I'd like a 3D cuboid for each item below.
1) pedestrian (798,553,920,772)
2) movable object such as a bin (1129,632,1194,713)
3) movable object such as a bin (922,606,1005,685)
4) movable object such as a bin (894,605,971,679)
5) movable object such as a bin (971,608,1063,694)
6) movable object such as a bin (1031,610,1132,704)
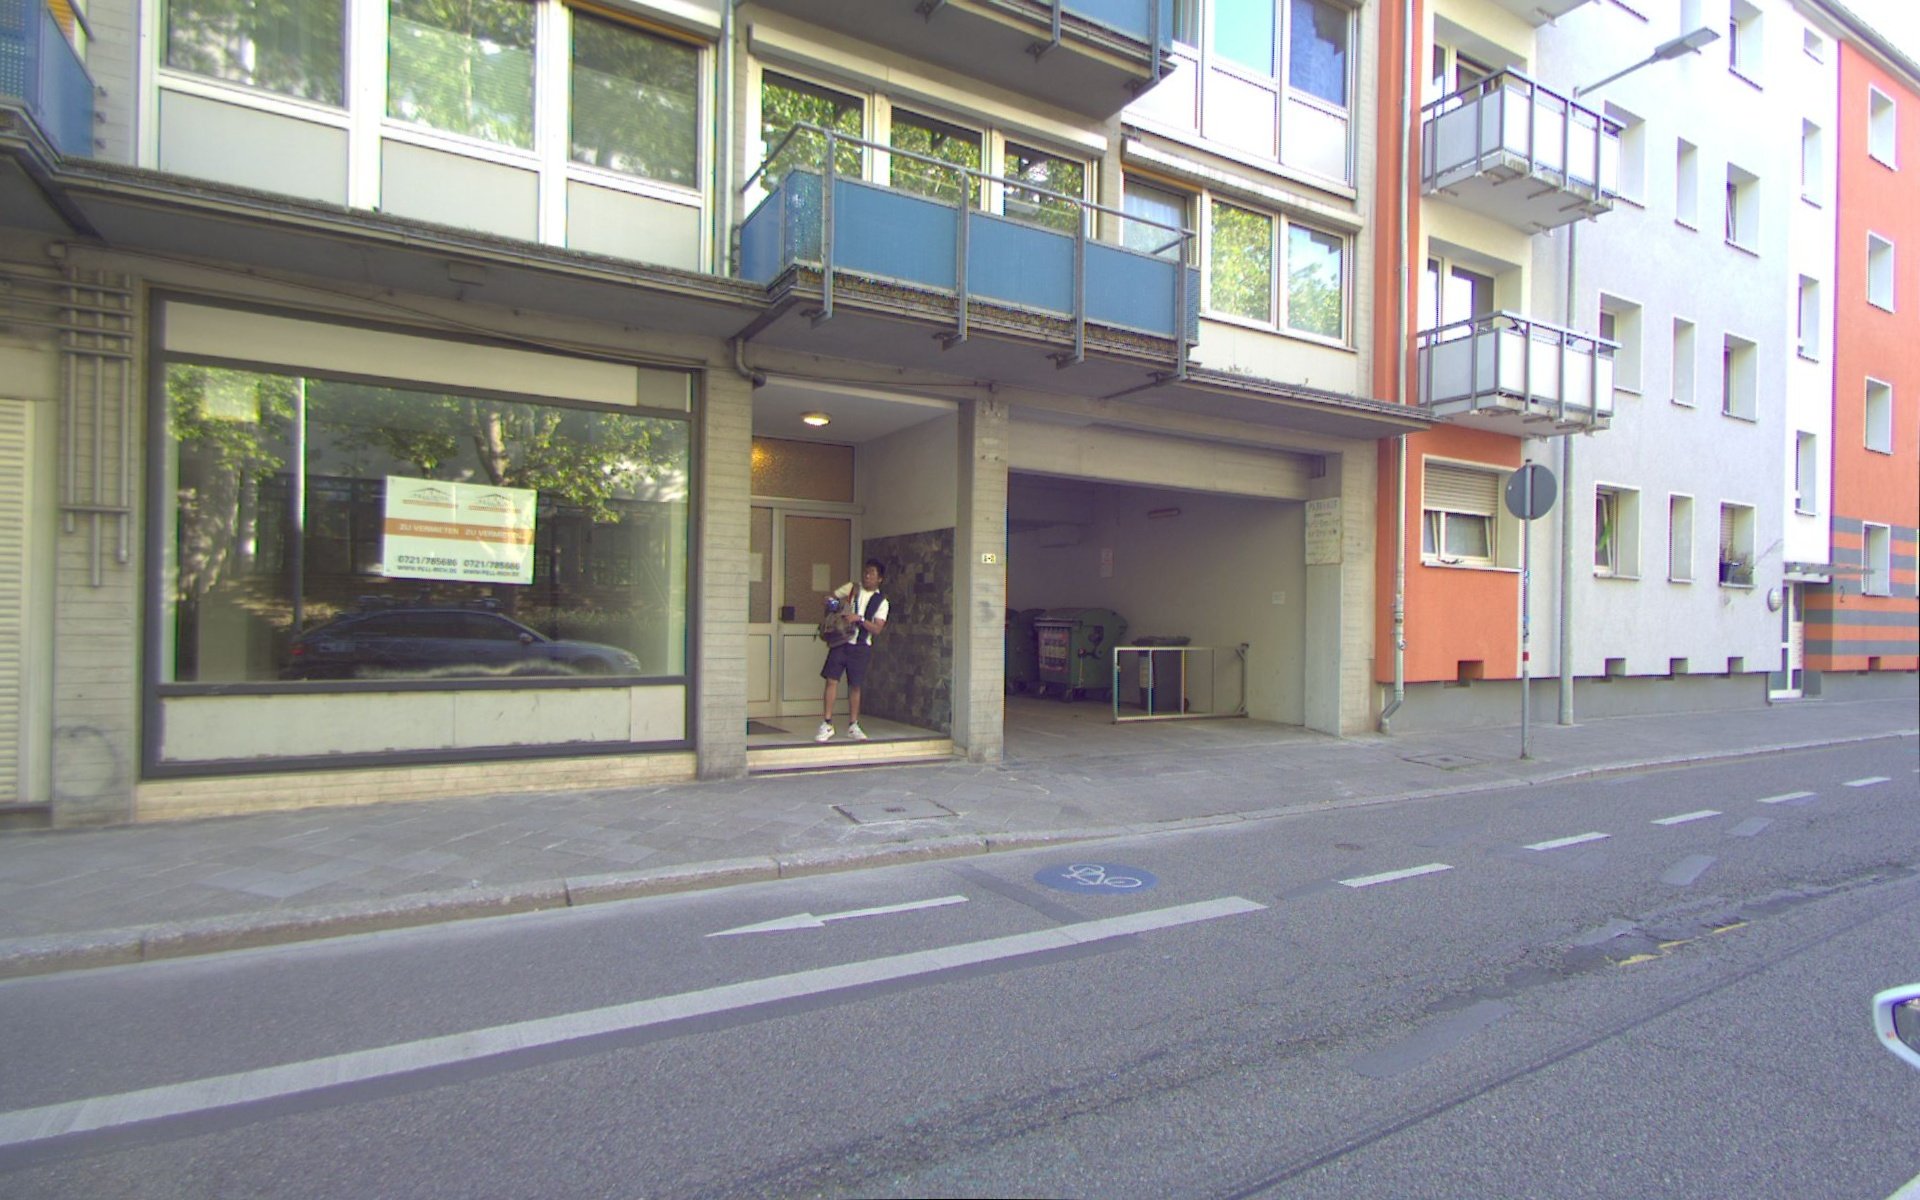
[{"bbox_3d":[-0.936,0.554,9.256,0.882,1.902,0.703,2,0,-28],"label":"pedestrian"},{"bbox_3d":[2.902,1.028,14.463,0.650,1.115,0.626,2,0,-27],"label":"movable object such as a bin"},{"bbox_3d":[0.049,0.826,18.697,1.066,1.384,1.255,2,0,-27],"label":"movable object such as a bin"},{"bbox_3d":[-0.560,0.813,19.866,1.066,1.384,1.255,2,0,-27],"label":"movable object such as a bin"},{"bbox_3d":[0.959,0.846,17.128,1.066,1.384,1.255,2,0,-27],"label":"movable object such as a bin"},{"bbox_3d":[1.901,0.869,15.814,1.066,1.384,1.192,2,0,-27],"label":"movable object such as a bin"}]
